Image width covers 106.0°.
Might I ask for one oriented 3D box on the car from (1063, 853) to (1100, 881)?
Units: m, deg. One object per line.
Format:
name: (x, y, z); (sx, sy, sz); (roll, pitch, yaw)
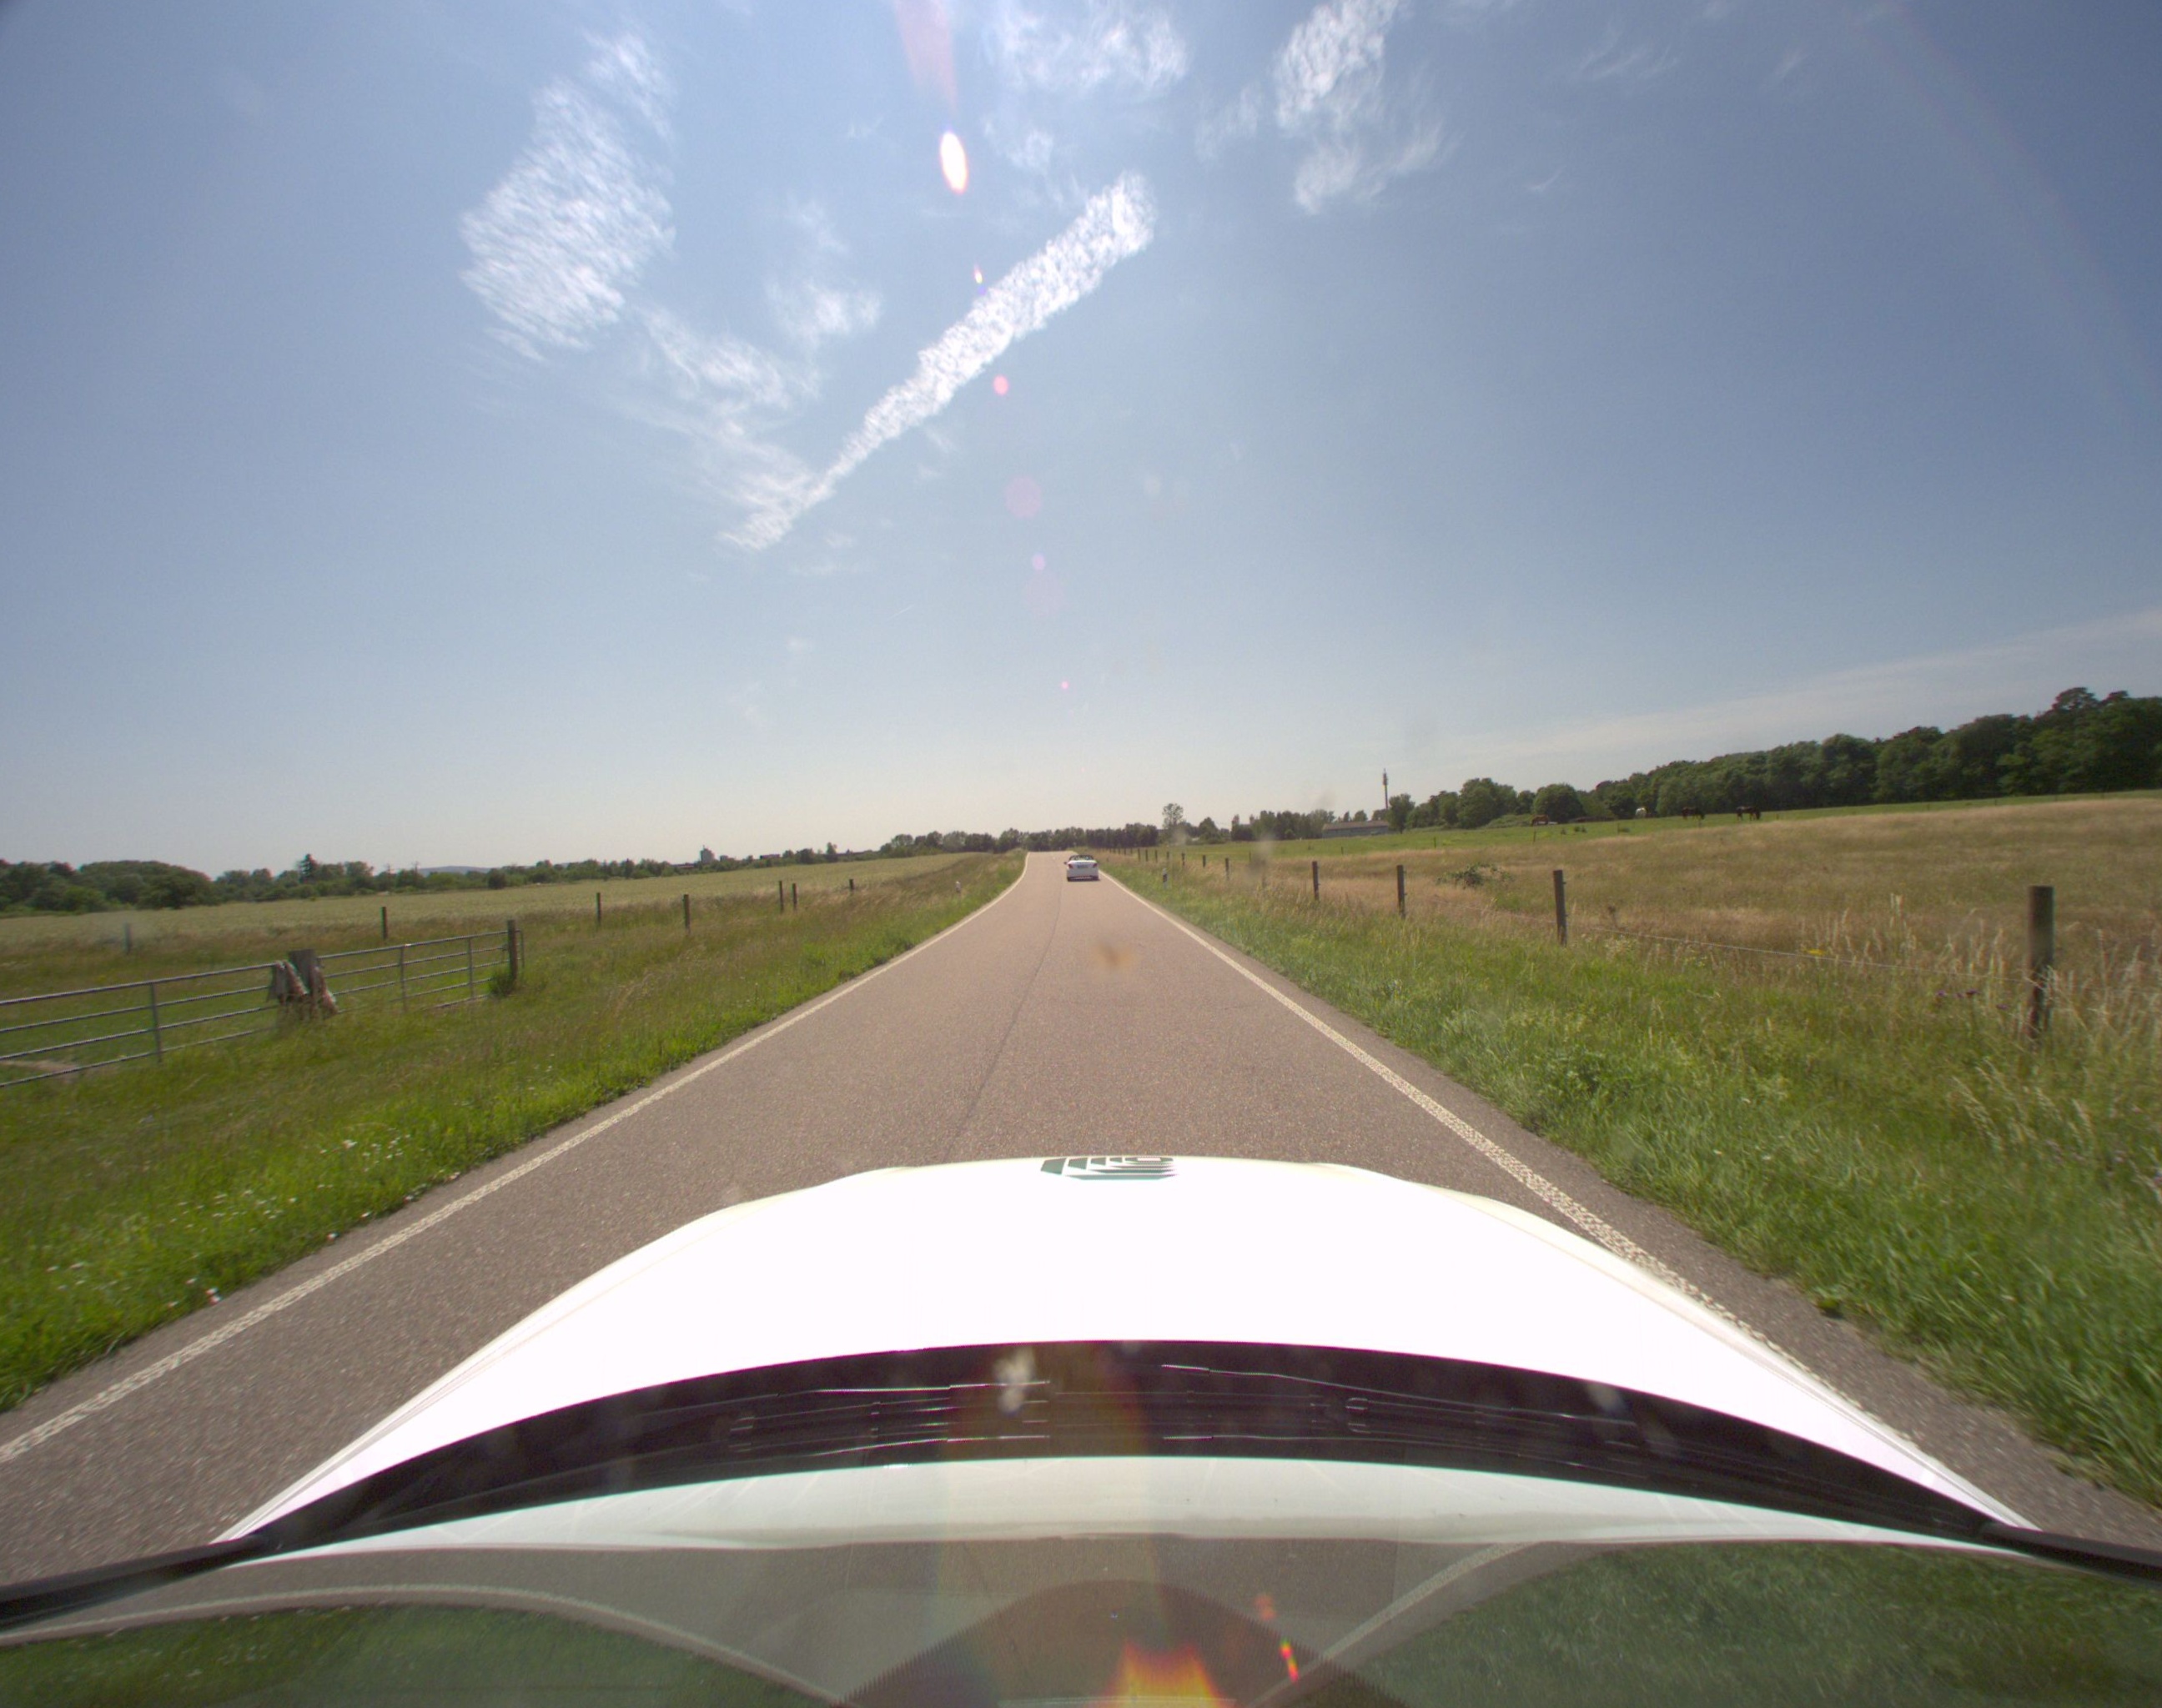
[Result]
car: (-0.012, 0.679, 45.288); (1.846, 1.379, 3.996); (-2, 1, -3)
